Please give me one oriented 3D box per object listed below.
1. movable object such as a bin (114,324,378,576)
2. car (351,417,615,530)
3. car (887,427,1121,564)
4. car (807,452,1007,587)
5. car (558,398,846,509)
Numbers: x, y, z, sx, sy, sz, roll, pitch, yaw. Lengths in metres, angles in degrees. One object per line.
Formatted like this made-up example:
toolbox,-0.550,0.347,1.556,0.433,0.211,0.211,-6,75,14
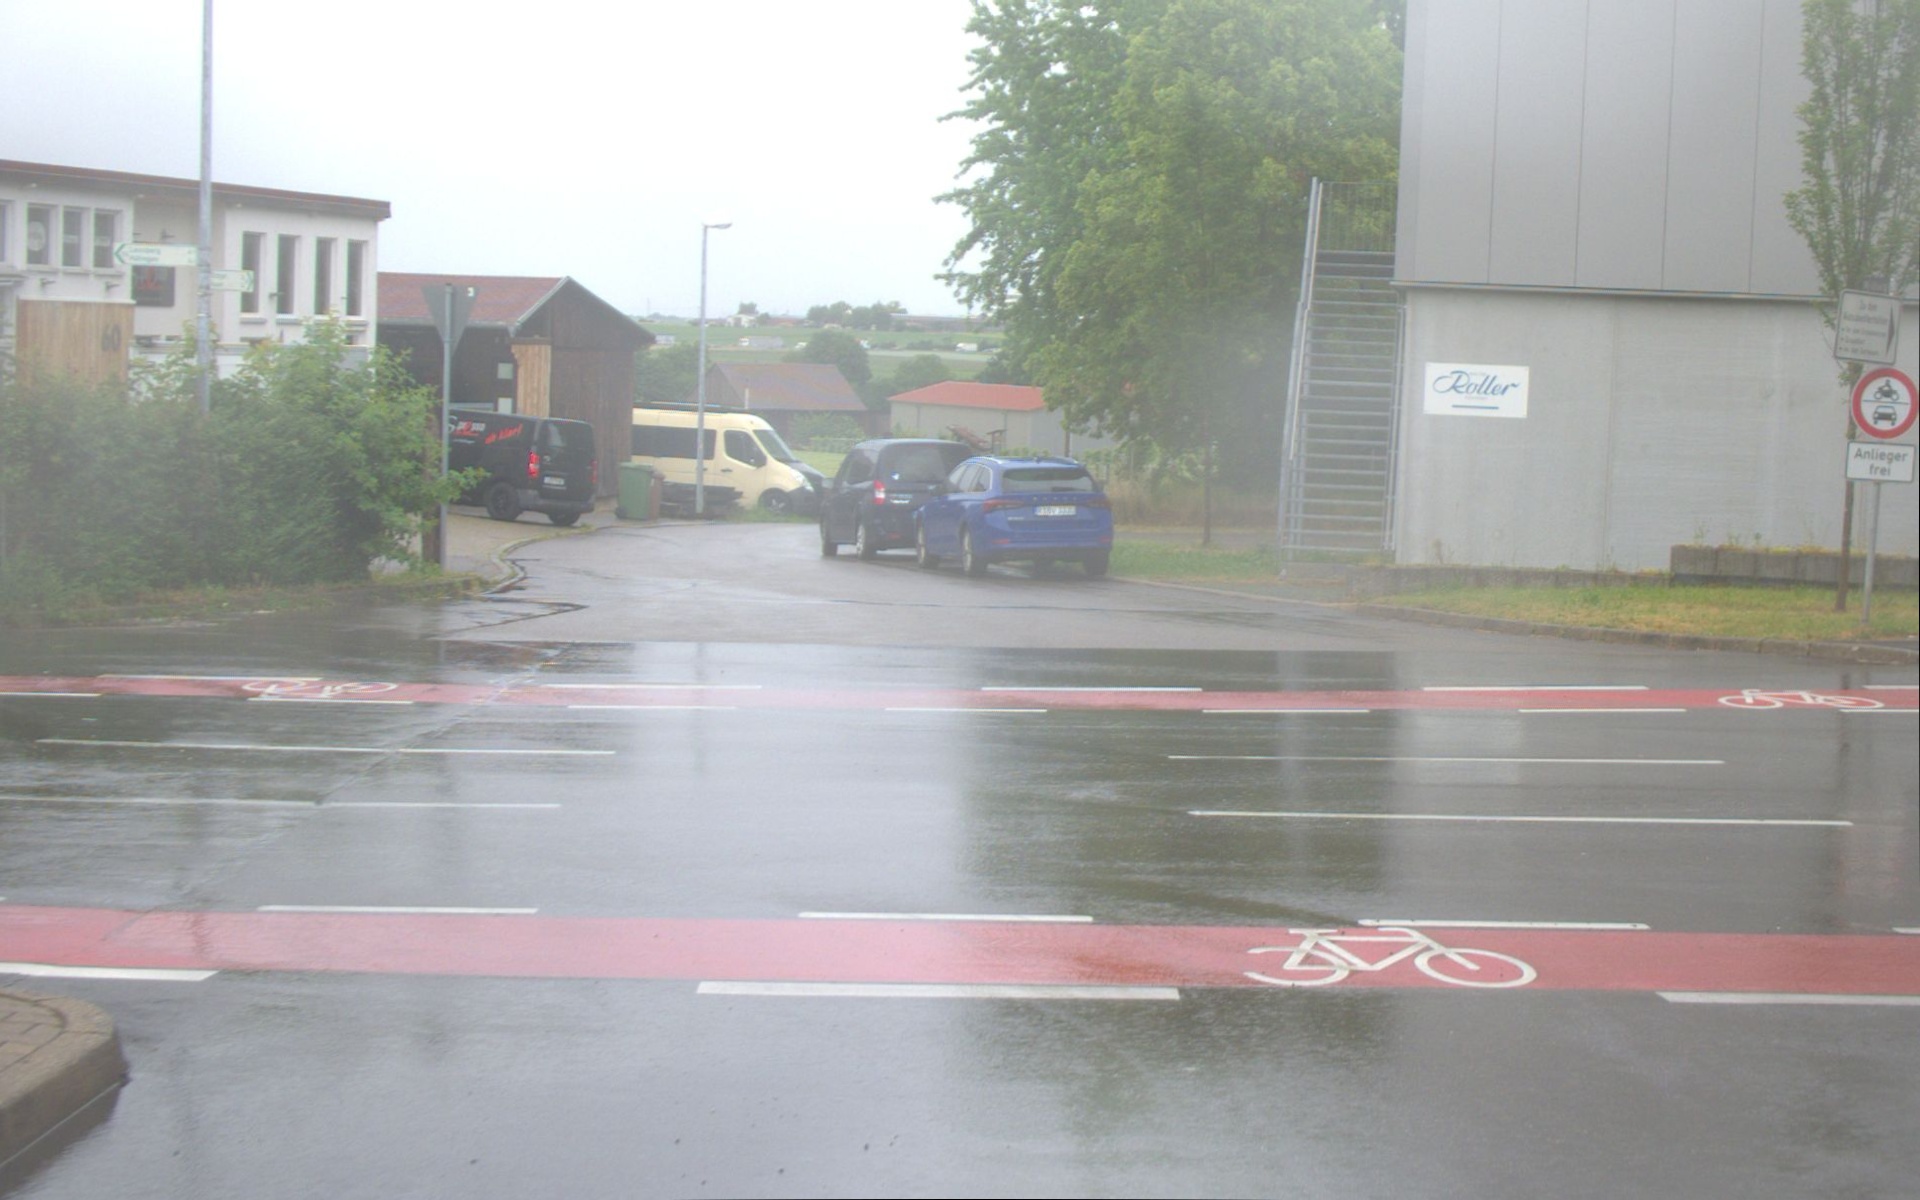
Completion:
movable object such as a bin,-7.554,-1.584,36.630,1.733,2.547,3.339,1,2,7
car,-8.355,-2.220,60.065,4.405,1.898,1.996,2,2,36
car,0.482,-1.325,43.152,1.951,1.604,4.448,0,2,-12
car,-0.823,-1.182,49.351,2.073,1.828,4.472,0,2,-11
car,-5.831,-3.310,77.861,6.013,2.406,2.462,1,2,14
